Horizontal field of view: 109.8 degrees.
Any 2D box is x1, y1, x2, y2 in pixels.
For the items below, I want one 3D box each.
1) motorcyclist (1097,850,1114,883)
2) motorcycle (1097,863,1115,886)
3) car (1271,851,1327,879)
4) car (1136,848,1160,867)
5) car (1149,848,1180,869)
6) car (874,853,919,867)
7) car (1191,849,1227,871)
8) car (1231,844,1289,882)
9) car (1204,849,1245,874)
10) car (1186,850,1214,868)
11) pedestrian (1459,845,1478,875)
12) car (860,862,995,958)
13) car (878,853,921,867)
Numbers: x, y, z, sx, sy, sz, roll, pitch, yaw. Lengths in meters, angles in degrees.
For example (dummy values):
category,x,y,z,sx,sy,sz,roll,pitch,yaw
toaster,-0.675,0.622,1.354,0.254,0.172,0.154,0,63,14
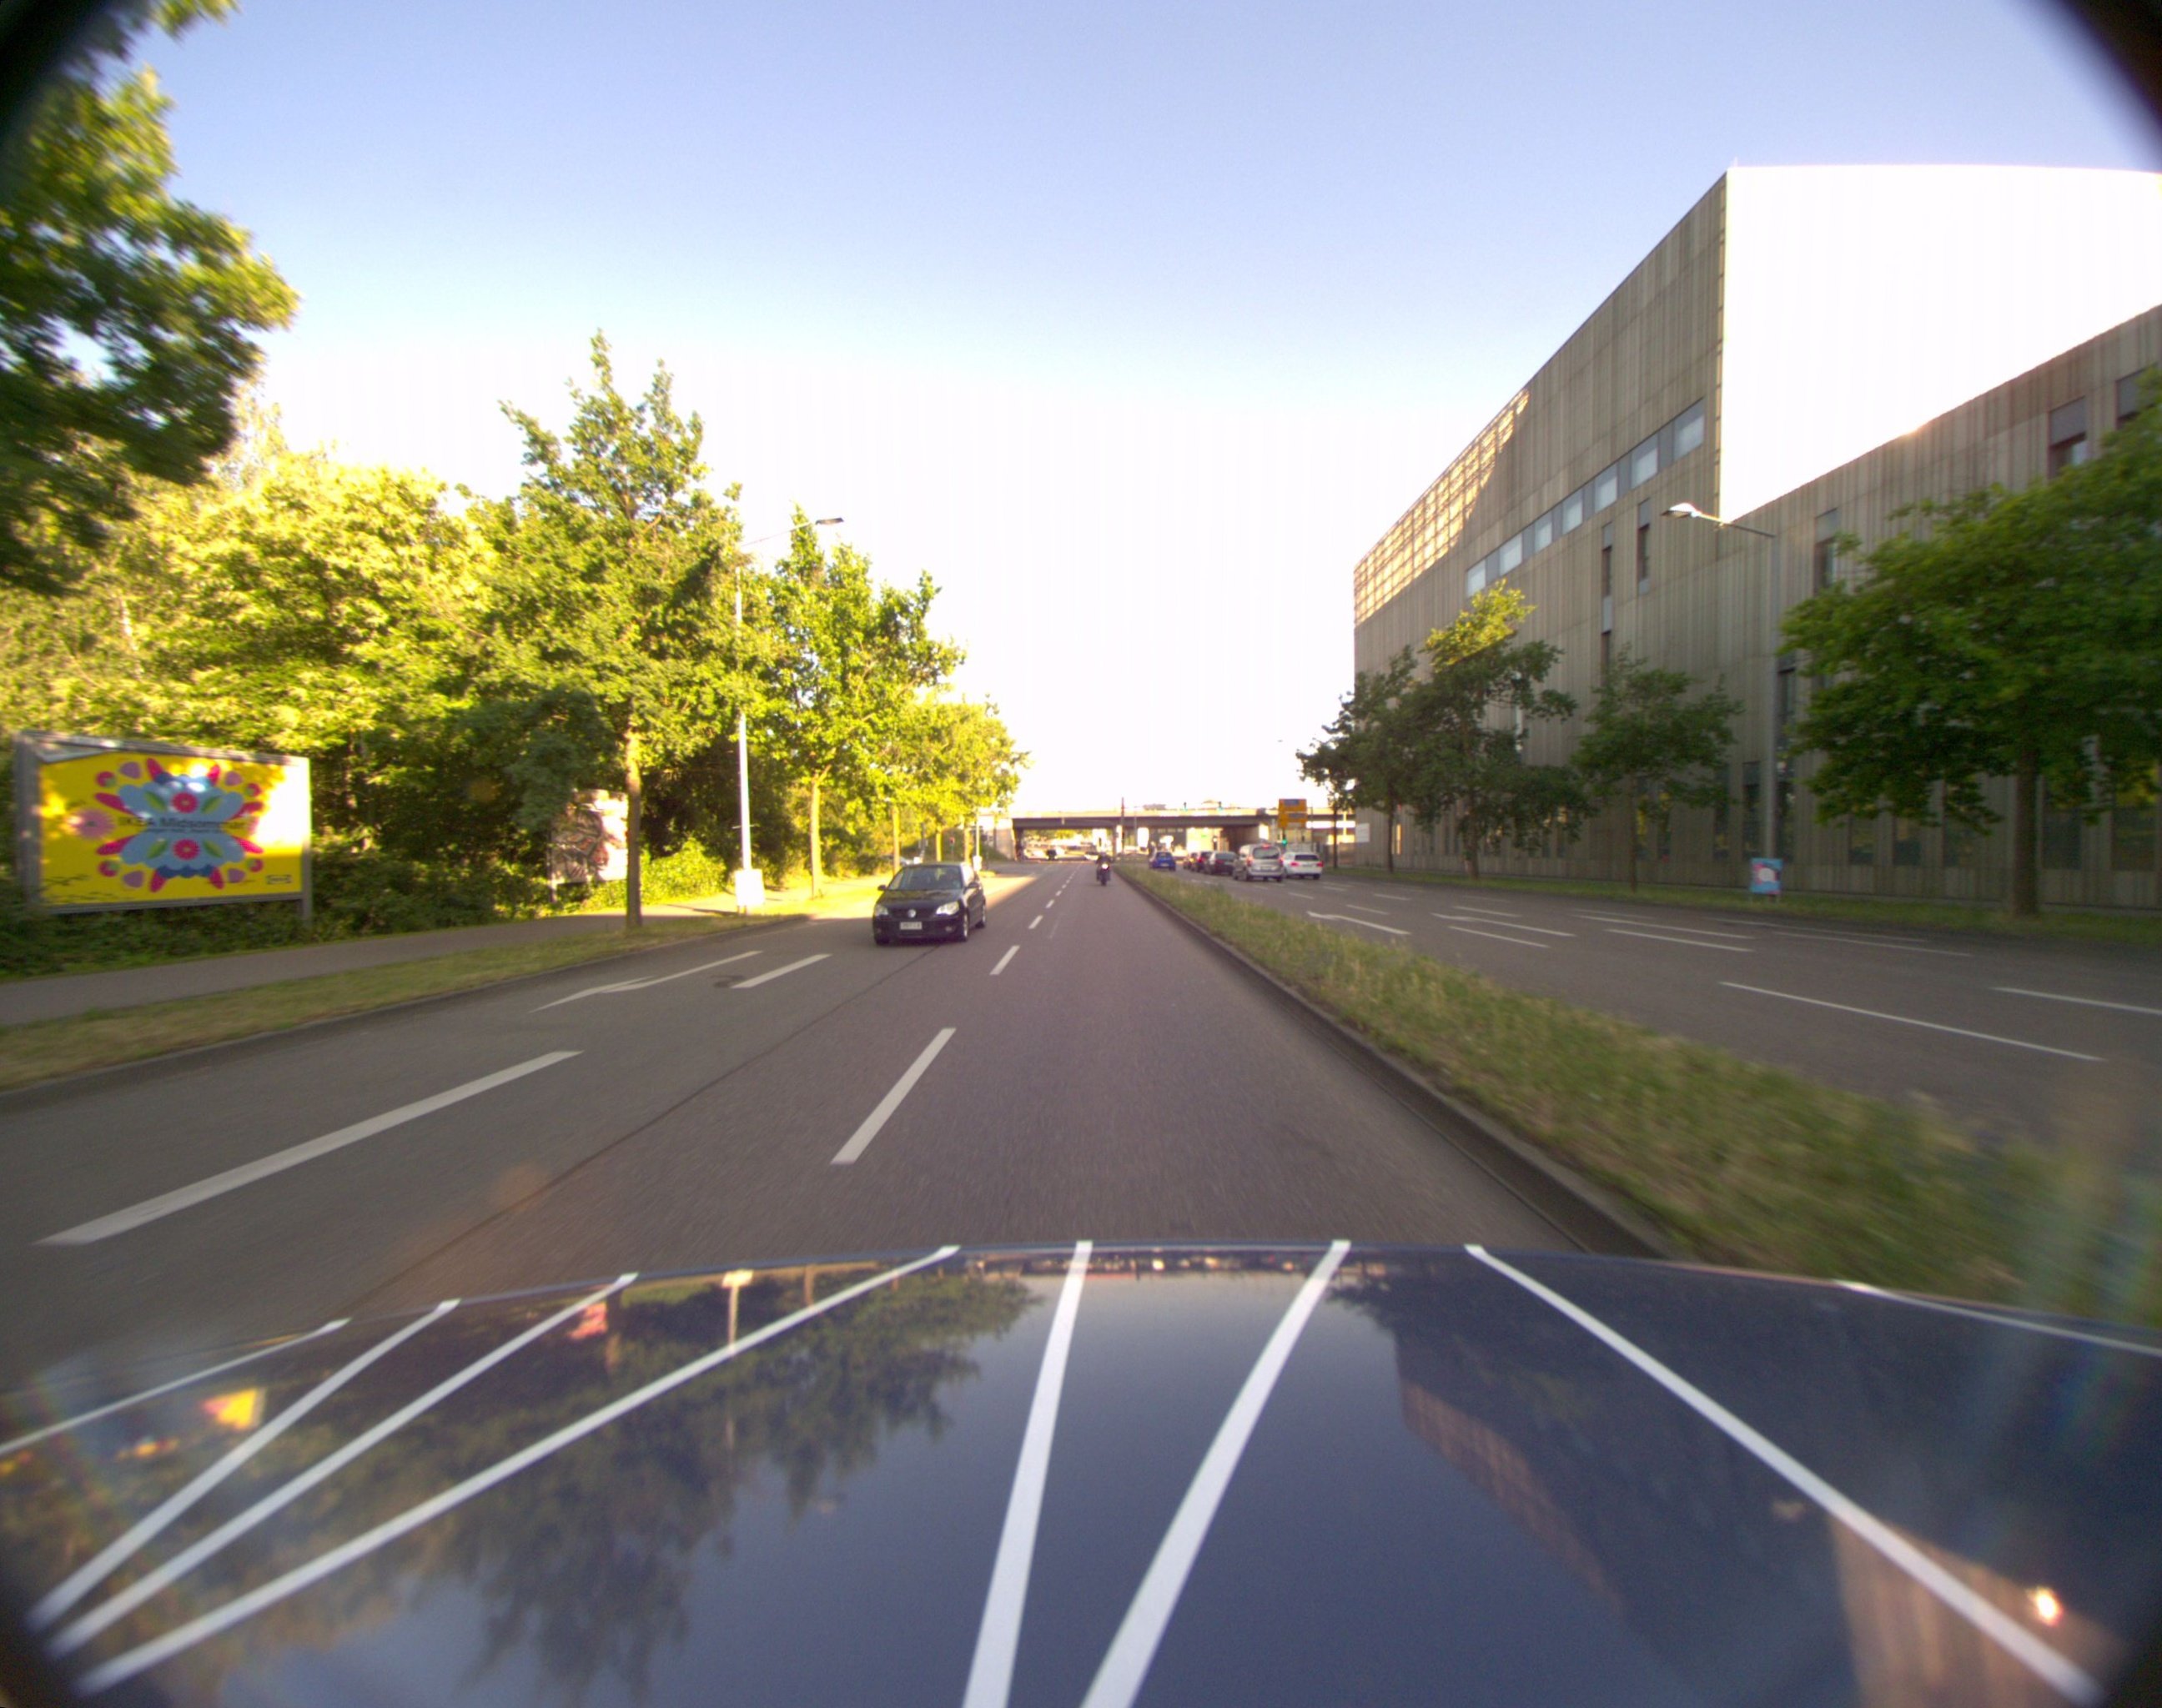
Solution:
category,x,y,z,sx,sy,sz,roll,pitch,yaw
motorcyclist,1.122,0.568,34.777,0.734,1.503,0.919,0,1,0
motorcycle,1.121,0.930,34.815,0.749,0.978,2.140,-1,1,0
car,12.299,0.588,43.146,1.850,1.464,4.815,1,1,1
car,5.835,0.304,66.310,1.930,1.596,4.000,0,1,2
car,6.096,0.302,55.963,1.840,1.510,3.952,0,1,0
car,-19.665,0.649,81.260,4.285,1.510,1.932,0,1,4
car,8.962,0.383,53.671,1.930,1.510,4.000,0,1,1
car,8.871,0.403,38.076,1.998,1.805,4.401,0,1,2
car,8.924,0.422,47.566,1.930,1.510,4.290,0,1,2
car,9.430,0.380,60.374,1.695,1.425,3.772,0,1,1
pedestrian,21.559,0.336,42.281,0.698,1.619,0.725,-1,1,1
car,-2.808,0.953,14.802,1.726,1.490,4.213,-2,0,0
car,-20.111,0.662,84.372,4.285,1.510,1.932,0,1,4
